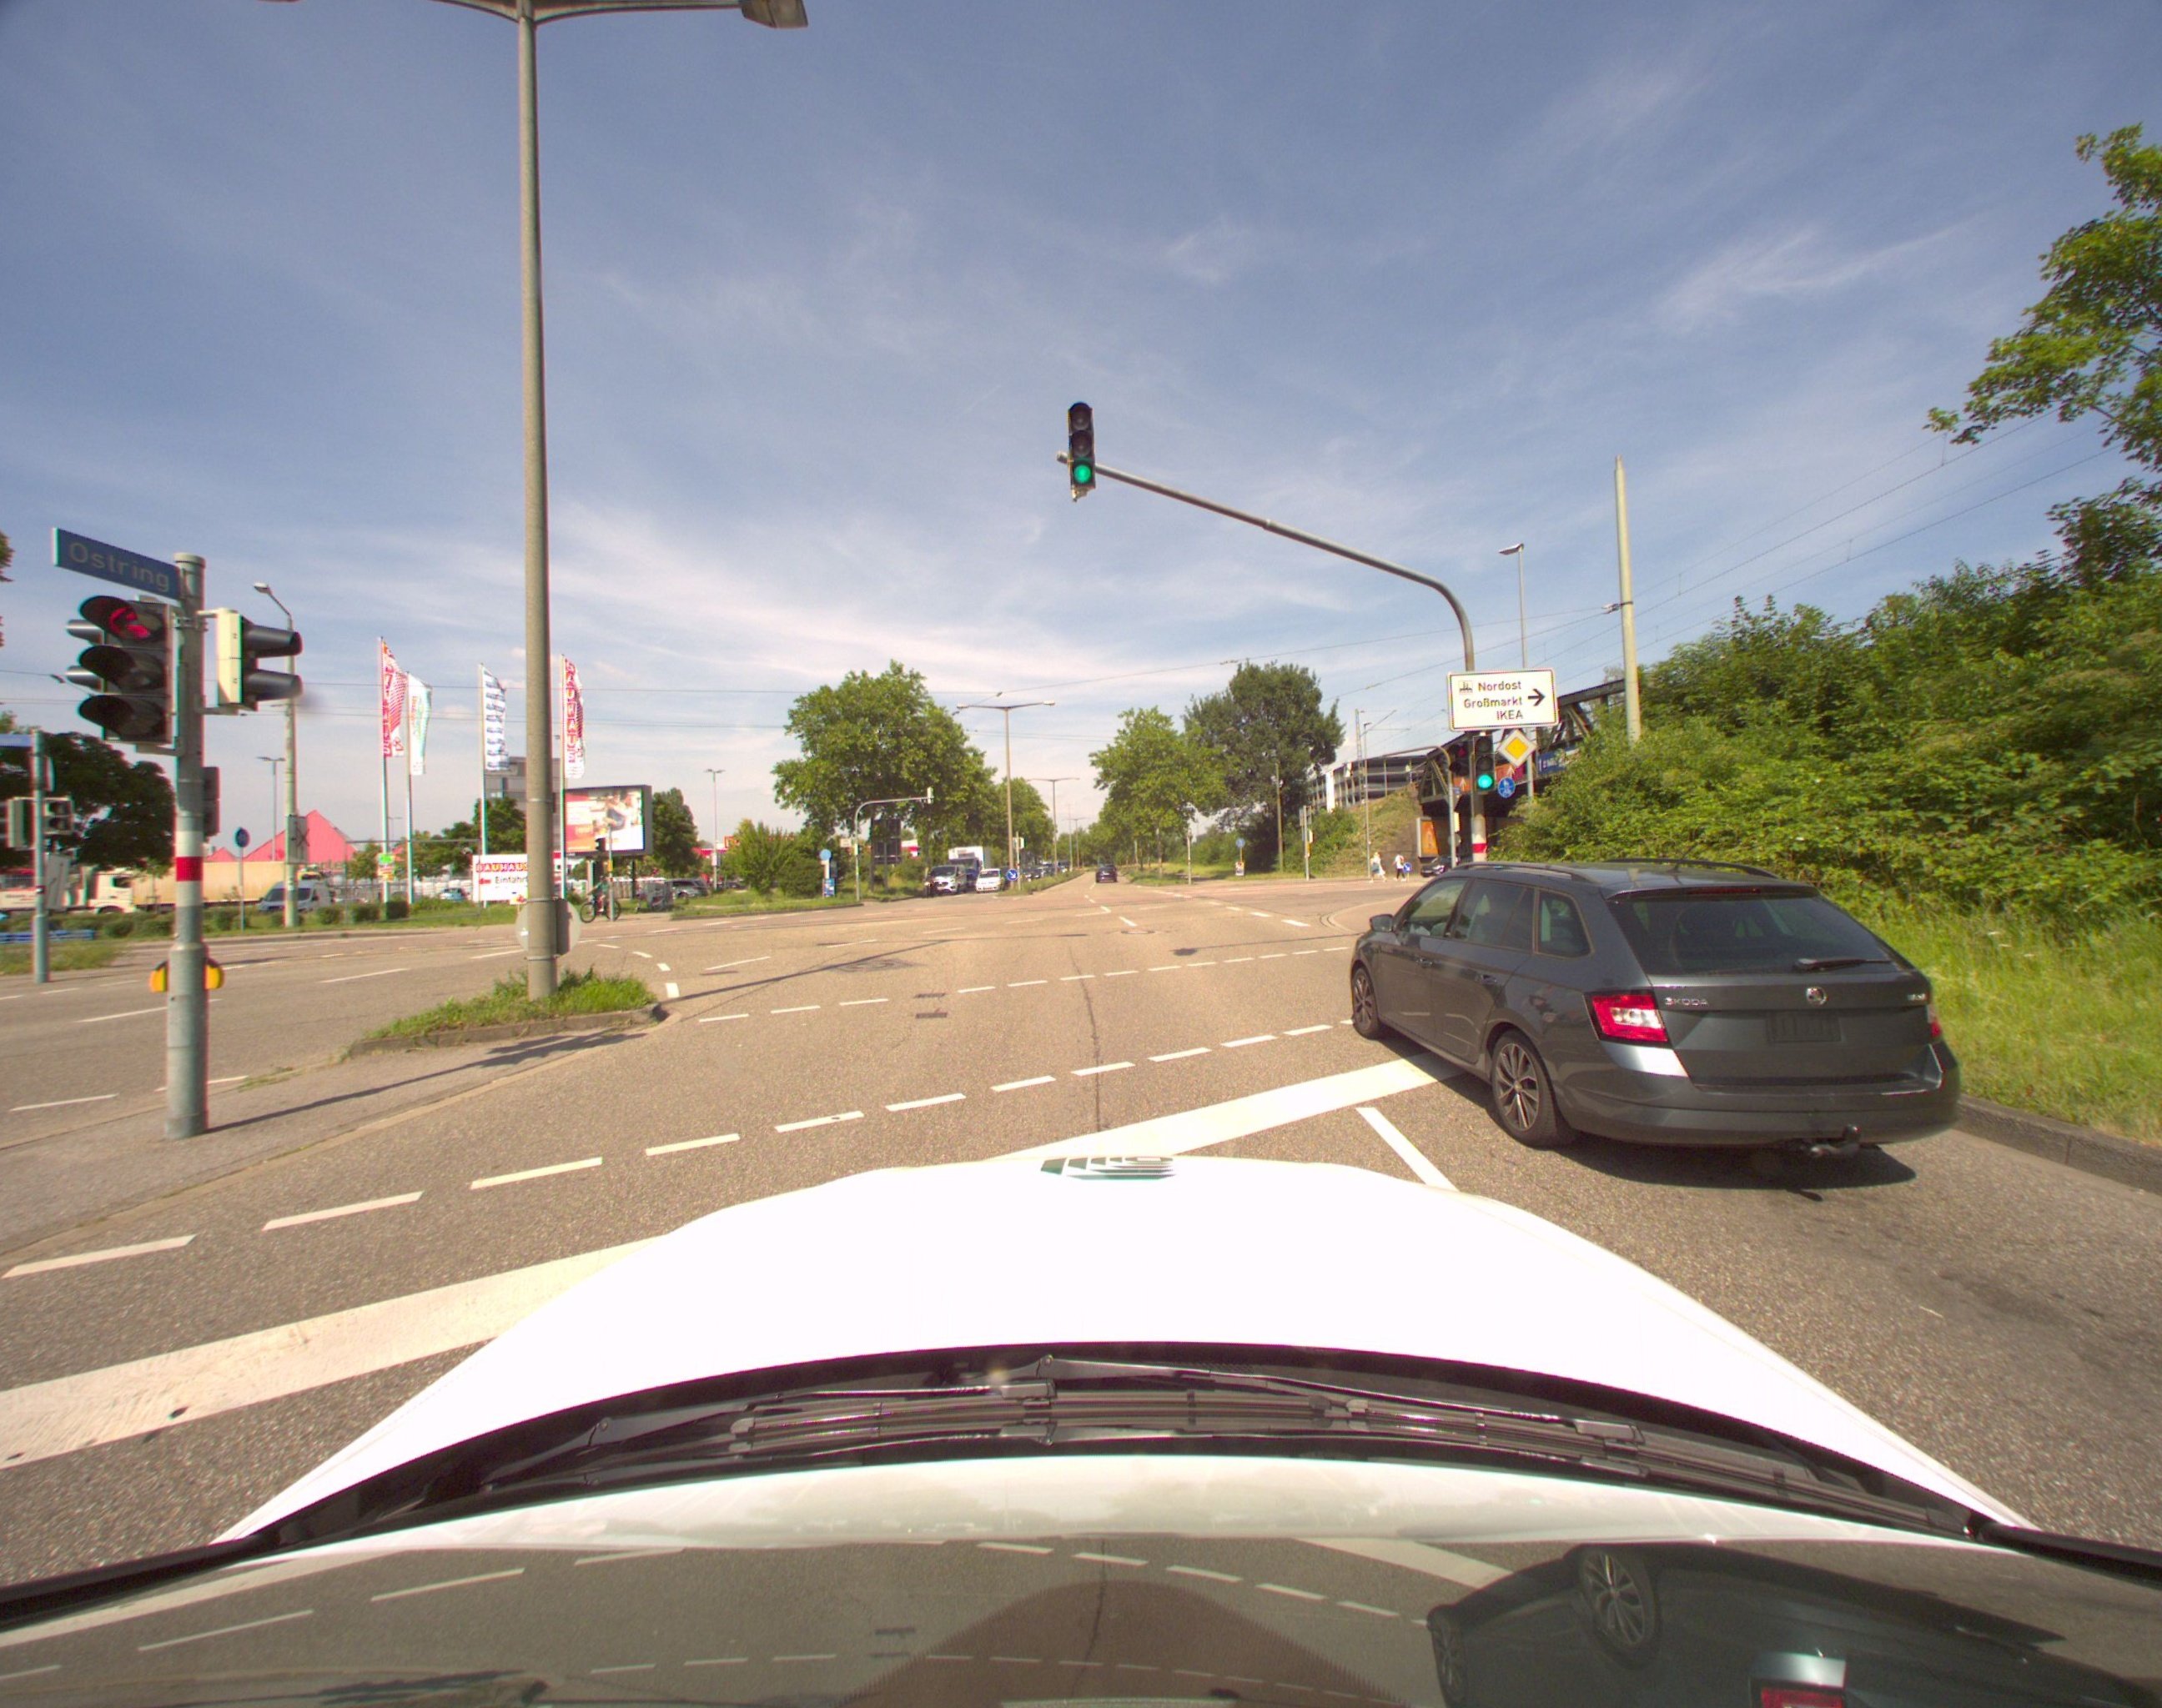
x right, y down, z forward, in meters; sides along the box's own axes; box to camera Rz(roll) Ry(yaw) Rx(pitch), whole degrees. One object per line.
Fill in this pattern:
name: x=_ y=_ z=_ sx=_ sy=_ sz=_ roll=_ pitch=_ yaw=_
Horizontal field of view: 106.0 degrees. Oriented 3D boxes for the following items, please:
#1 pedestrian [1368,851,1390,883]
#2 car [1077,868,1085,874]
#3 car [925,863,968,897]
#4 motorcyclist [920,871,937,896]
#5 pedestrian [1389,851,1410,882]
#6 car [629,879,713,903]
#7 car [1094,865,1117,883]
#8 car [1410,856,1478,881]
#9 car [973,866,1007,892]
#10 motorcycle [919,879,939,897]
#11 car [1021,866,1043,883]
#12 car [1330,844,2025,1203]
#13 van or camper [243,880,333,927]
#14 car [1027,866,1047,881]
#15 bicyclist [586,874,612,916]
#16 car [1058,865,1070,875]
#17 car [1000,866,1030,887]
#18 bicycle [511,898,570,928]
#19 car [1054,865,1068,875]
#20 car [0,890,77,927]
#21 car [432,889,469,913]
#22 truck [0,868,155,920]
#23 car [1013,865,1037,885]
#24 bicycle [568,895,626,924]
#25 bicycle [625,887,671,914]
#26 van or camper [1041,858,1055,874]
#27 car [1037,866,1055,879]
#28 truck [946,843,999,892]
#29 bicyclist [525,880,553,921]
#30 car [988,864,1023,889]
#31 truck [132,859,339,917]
pedestrian: x=15.540 y=0.675 z=42.474 sx=0.865 sy=1.612 sz=0.778 roll=-2 pitch=-1 yaw=1
car: x=-0.047 y=4.322 z=205.835 sx=1.798 sy=1.510 sz=3.810 roll=-2 pitch=-1 yaw=-3
car: x=-8.736 y=1.645 z=53.345 sx=1.970 sy=1.999 sz=5.029 roll=-2 pitch=-1 yaw=-1
motorcyclist: x=-9.038 y=1.743 z=48.344 sx=0.740 sy=1.470 sz=0.988 roll=-2 pitch=-1 yaw=2
pedestrian: x=16.618 y=0.626 z=42.523 sx=0.726 sy=1.579 sz=0.778 roll=-2 pitch=-1 yaw=1
car: x=-27.740 y=2.497 z=55.215 sx=4.556 sy=1.414 sz=2.196 roll=-2 pitch=-1 yaw=-6
car: x=2.076 y=1.707 z=71.350 sx=1.901 sy=1.463 sz=4.621 roll=-2 pitch=-1 yaw=1
car: x=23.760 y=0.938 z=53.210 sx=4.520 sy=1.409 sz=1.978 roll=-1 pitch=-1 yaw=-35
car: x=-5.819 y=1.585 z=52.594 sx=1.587 sy=1.477 sz=3.731 roll=-3 pitch=-1 yaw=2
motorcycle: x=-9.000 y=1.986 z=48.245 sx=0.685 sy=0.991 sz=2.218 roll=-2 pitch=-1 yaw=2
car: x=-4.722 y=1.938 z=79.246 sx=1.682 sy=1.473 sz=4.219 roll=-4 pitch=-1 yaw=2
car: x=3.072 y=0.713 z=5.372 sx=1.668 sy=1.453 sz=4.036 roll=-1 pitch=-1 yaw=1
van or camper: x=-41.011 y=2.505 z=42.287 sx=2.204 sy=2.210 sz=5.462 roll=-1 pitch=-1 yaw=-32
car: x=-4.515 y=2.036 z=84.881 sx=1.682 sy=1.472 sz=3.816 roll=-3 pitch=-1 yaw=2
bicyclist: x=-17.839 y=1.513 z=30.124 sx=0.523 sy=1.491 sz=0.612 roll=-2 pitch=-1 yaw=17
car: x=-2.761 y=2.524 z=131.723 sx=1.682 sy=1.510 sz=3.816 roll=-3 pitch=-1 yaw=2
car: x=-5.236 y=1.787 z=65.349 sx=1.790 sy=1.468 sz=4.525 roll=-3 pitch=-1 yaw=2
bicycle: x=-19.163 y=2.093 z=28.894 sx=0.430 sy=0.937 sz=1.761 roll=-2 pitch=-1 yaw=24
car: x=-3.088 y=2.478 z=125.194 sx=1.777 sy=1.459 sz=4.473 roll=-3 pitch=-1 yaw=2
car: x=-76.992 y=3.948 z=59.634 sx=2.396 sy=2.529 sz=6.065 roll=-2 pitch=-1 yaw=-31
car: x=-45.805 y=3.360 z=59.253 sx=1.829 sy=1.572 sz=4.234 roll=-1 pitch=-1 yaw=-34
truck: x=-64.861 y=2.513 z=50.318 sx=9.655 sy=2.892 sz=2.895 roll=-2 pitch=-1 yaw=-35
car: x=-4.911 y=1.825 z=71.926 sx=1.682 sy=1.586 sz=4.241 roll=-3 pitch=-1 yaw=2
bicycle: x=-17.840 y=2.024 z=30.069 sx=0.412 sy=0.937 sz=2.007 roll=-2 pitch=-1 yaw=19
bicycle: x=-18.759 y=2.012 z=35.329 sx=0.590 sy=1.037 sz=1.903 roll=-2 pitch=-1 yaw=16
van or camper: x=-5.893 y=2.163 z=146.263 sx=2.007 sy=2.587 sz=5.519 roll=-3 pitch=-1 yaw=2
car: x=-4.174 y=2.202 z=97.575 sx=1.778 sy=1.489 sz=4.211 roll=-3 pitch=-1 yaw=1
truck: x=-8.370 y=1.005 z=63.674 sx=2.793 sy=3.471 sz=6.693 roll=-4 pitch=0 yaw=2
bicyclist: x=-19.232 y=1.633 z=28.887 sx=0.523 sy=1.414 sz=0.613 roll=-2 pitch=-1 yaw=24
car: x=-5.374 y=1.616 z=58.441 sx=1.813 sy=1.647 sz=4.695 roll=-3 pitch=-2 yaw=2
truck: x=-55.033 y=2.137 z=53.475 sx=8.964 sy=3.311 sz=3.125 roll=-2 pitch=-1 yaw=-36
